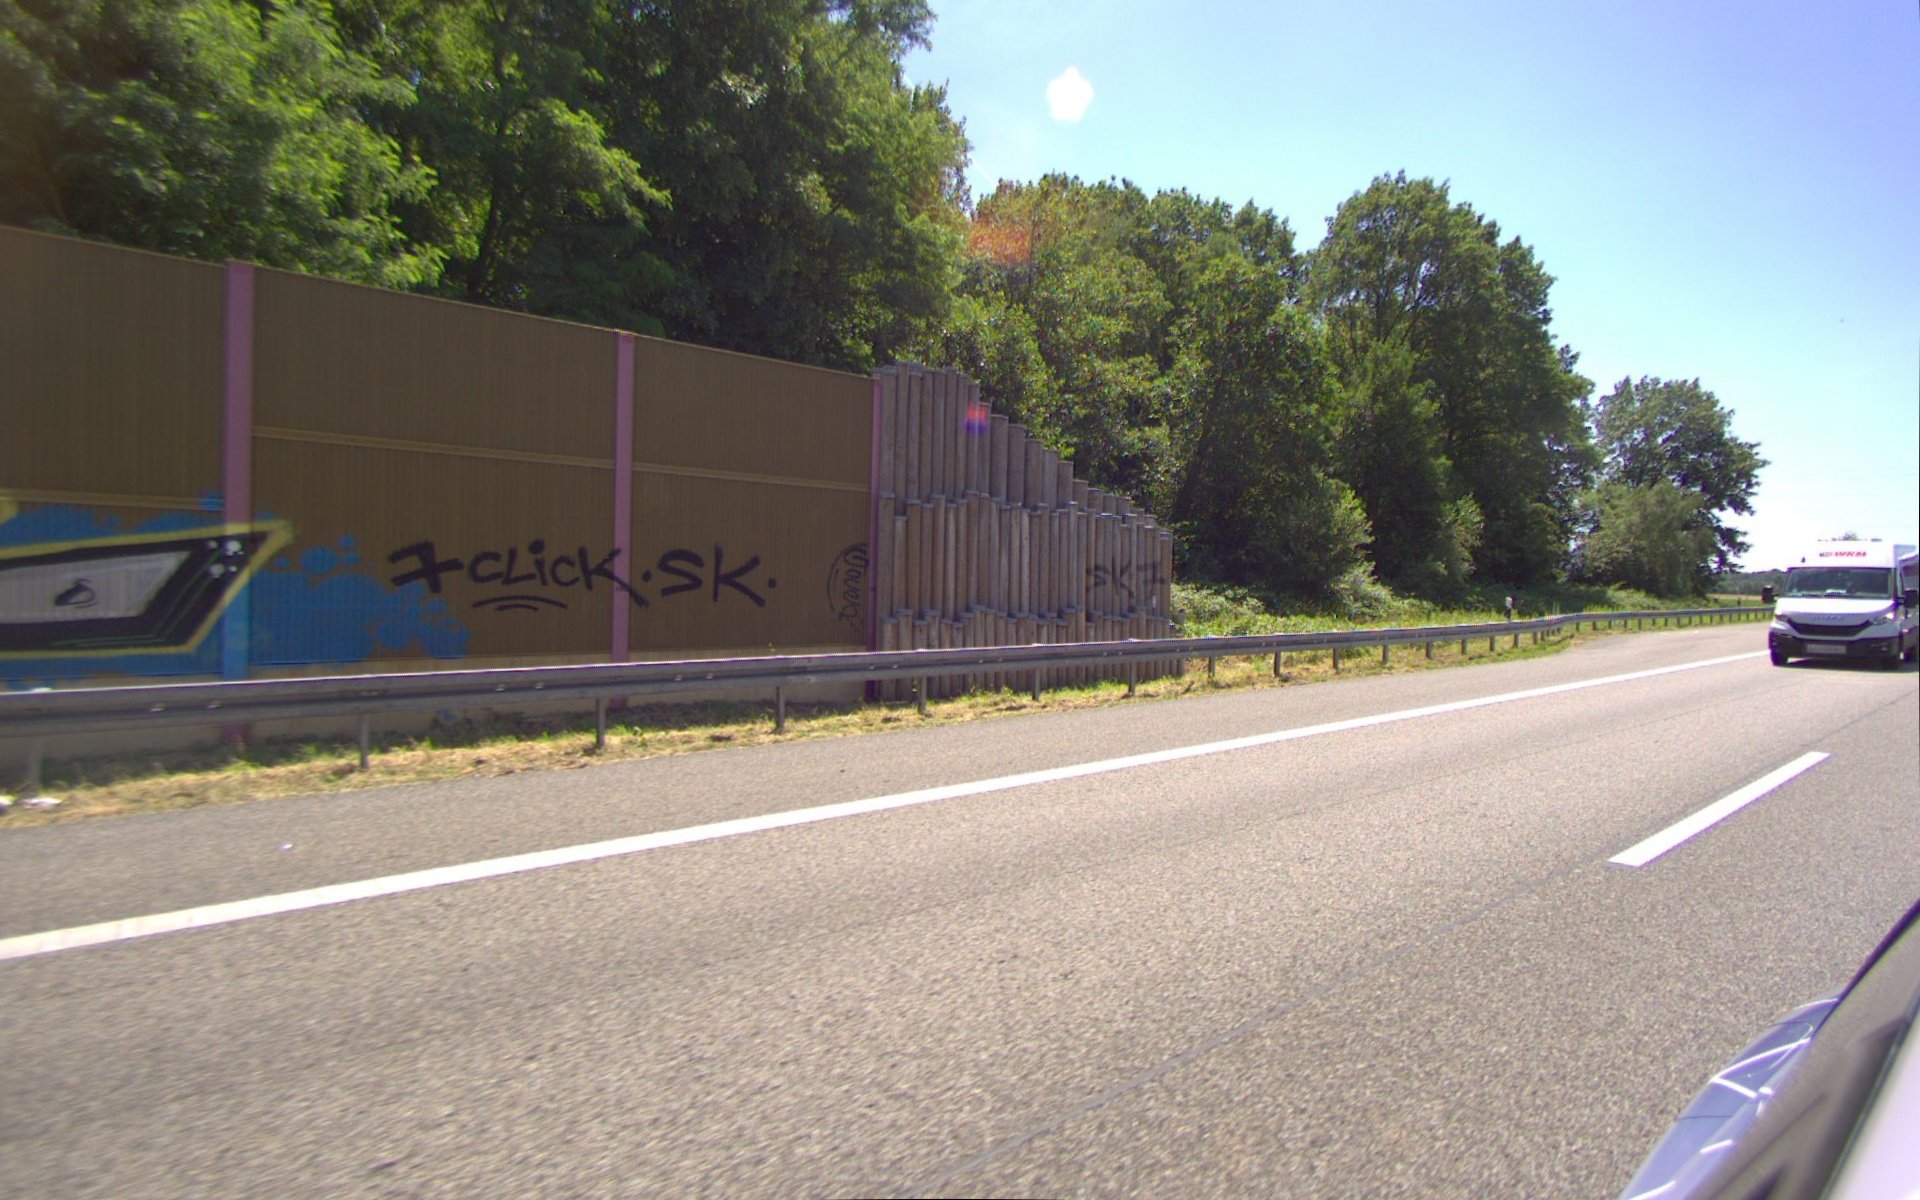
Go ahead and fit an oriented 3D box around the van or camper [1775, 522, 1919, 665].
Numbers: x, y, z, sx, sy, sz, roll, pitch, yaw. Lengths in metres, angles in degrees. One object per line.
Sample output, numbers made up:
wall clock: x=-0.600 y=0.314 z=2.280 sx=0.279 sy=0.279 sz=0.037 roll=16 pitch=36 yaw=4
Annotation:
van or camper: x=19.534 y=-0.152 z=21.821 sx=6.375 sy=2.670 sz=2.025 roll=-1 pitch=1 yaw=-42
